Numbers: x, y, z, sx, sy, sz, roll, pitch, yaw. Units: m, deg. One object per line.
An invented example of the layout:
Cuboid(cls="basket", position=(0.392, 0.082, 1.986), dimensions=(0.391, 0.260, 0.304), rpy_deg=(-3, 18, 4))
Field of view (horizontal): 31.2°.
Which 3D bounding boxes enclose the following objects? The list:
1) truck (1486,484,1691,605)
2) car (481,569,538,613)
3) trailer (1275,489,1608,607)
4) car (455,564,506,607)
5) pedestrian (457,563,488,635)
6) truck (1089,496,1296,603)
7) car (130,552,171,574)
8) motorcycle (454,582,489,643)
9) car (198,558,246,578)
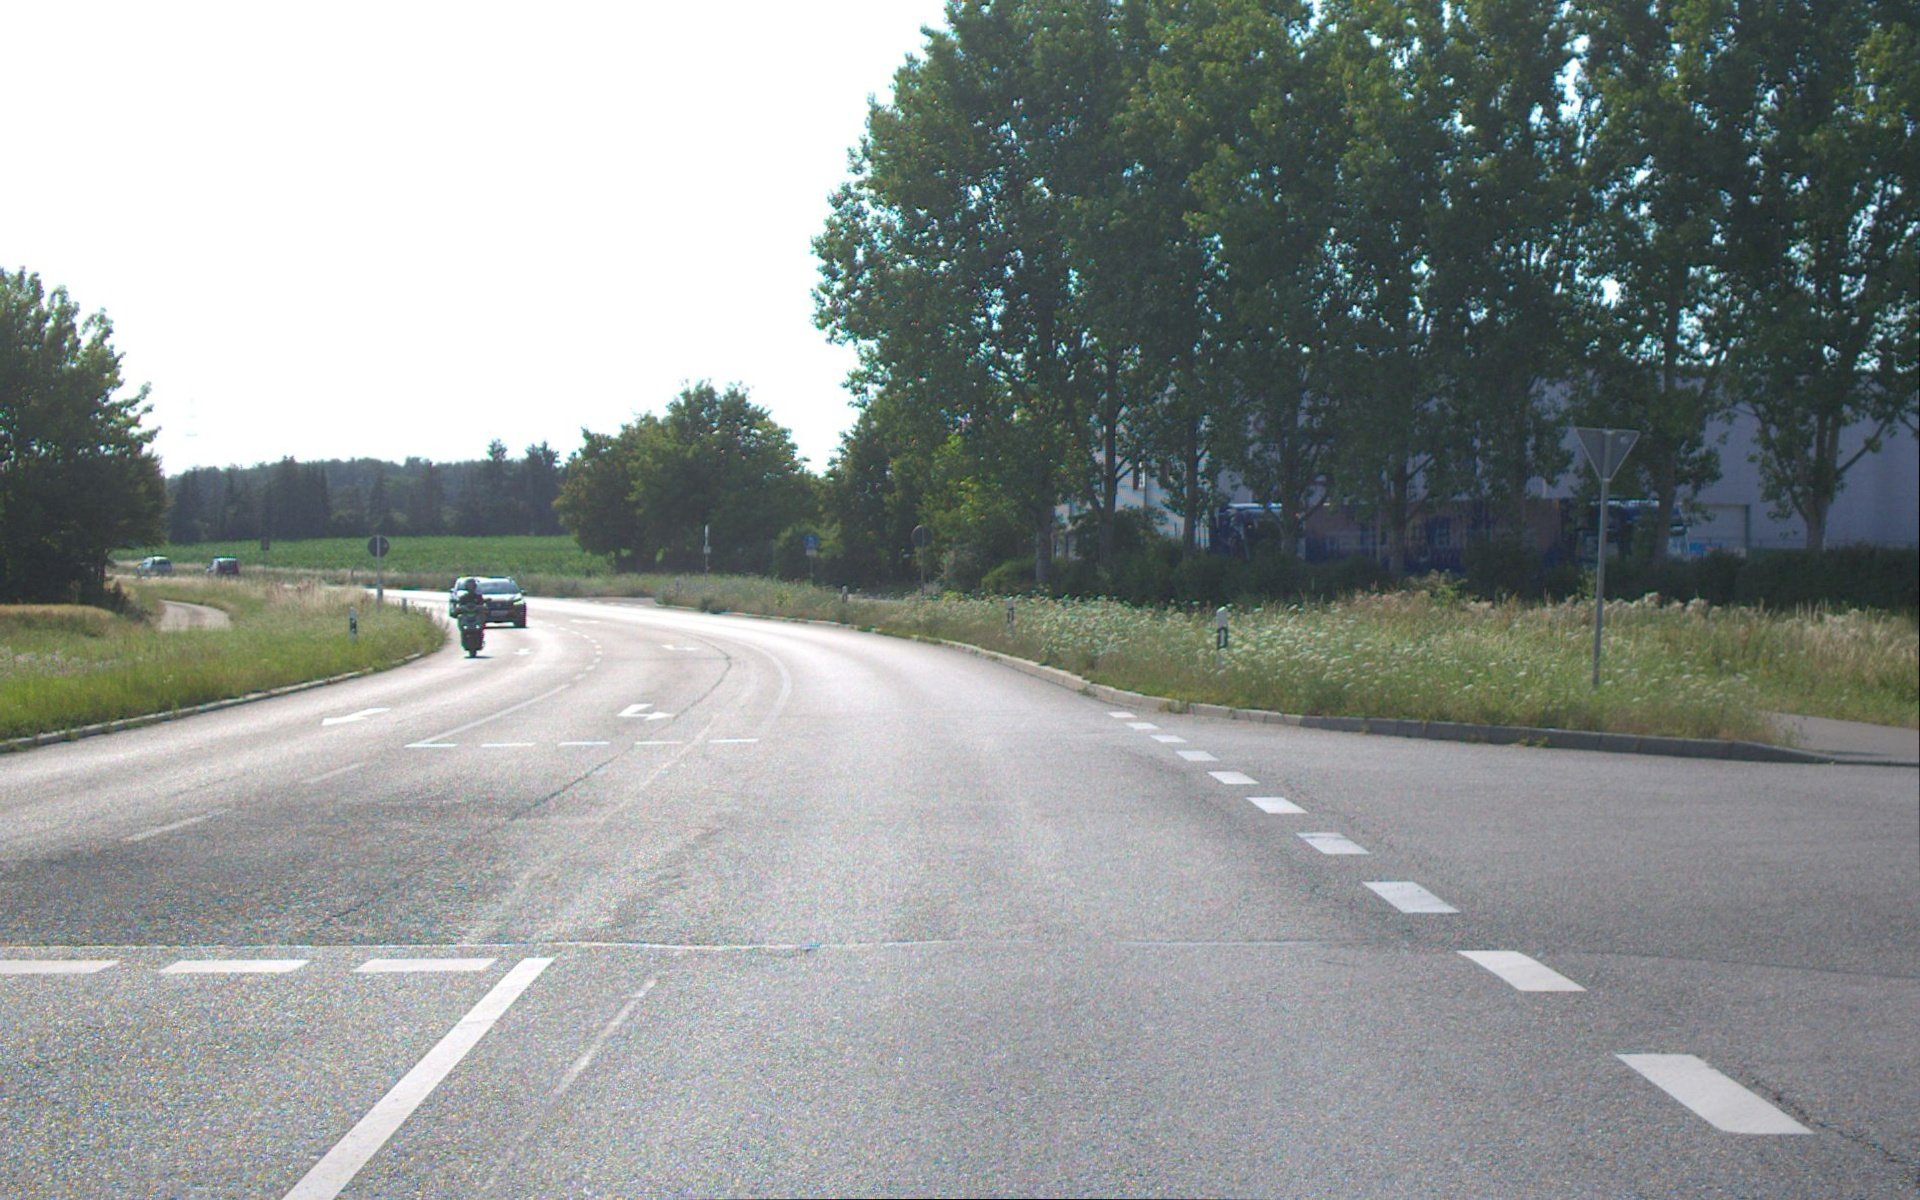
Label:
Cuboid(cls="truck", position=(17.696, -1.506, 97.054), dimensions=(2.620, 3.151, 5.710), rpy_deg=(4, -2, -27))
Cuboid(cls="car", position=(-14.095, -0.295, 107.707), dimensions=(1.684, 1.344, 4.001), rpy_deg=(0, 0, -6))
Cuboid(cls="trailer", position=(14.285, -1.457, 103.780), dimensions=(2.683, 3.131, 13.271), rpy_deg=(4, -2, -27))
Cuboid(cls="car", position=(-17.229, -0.535, 123.443), dimensions=(1.684, 1.344, 3.634), rpy_deg=(3, 1, -9))
Cuboid(cls="pedestrian", position=(-10.345, -0.027, 73.007), dimensions=(0.565, 1.500, 0.865), rpy_deg=(2, 0, -5))
Cuboid(cls="truck", position=(7.808, -1.714, 117.217), dimensions=(2.511, 3.365, 9.687), rpy_deg=(4, -1, -25))
Cuboid(cls="car", position=(-54.676, -2.505, 232.162), dimensions=(1.850, 1.403, 3.645), rpy_deg=(4, -1, -26))
Cuboid(cls="motorcycle", position=(-10.357, 0.256, 72.978), dimensions=(0.585, 1.256, 2.121), rpy_deg=(2, 0, -5))
Cuboid(cls="car", position=(-46.322, -2.003, 215.723), dimensions=(1.967, 1.147, 3.868), rpy_deg=(4, -1, -26))
